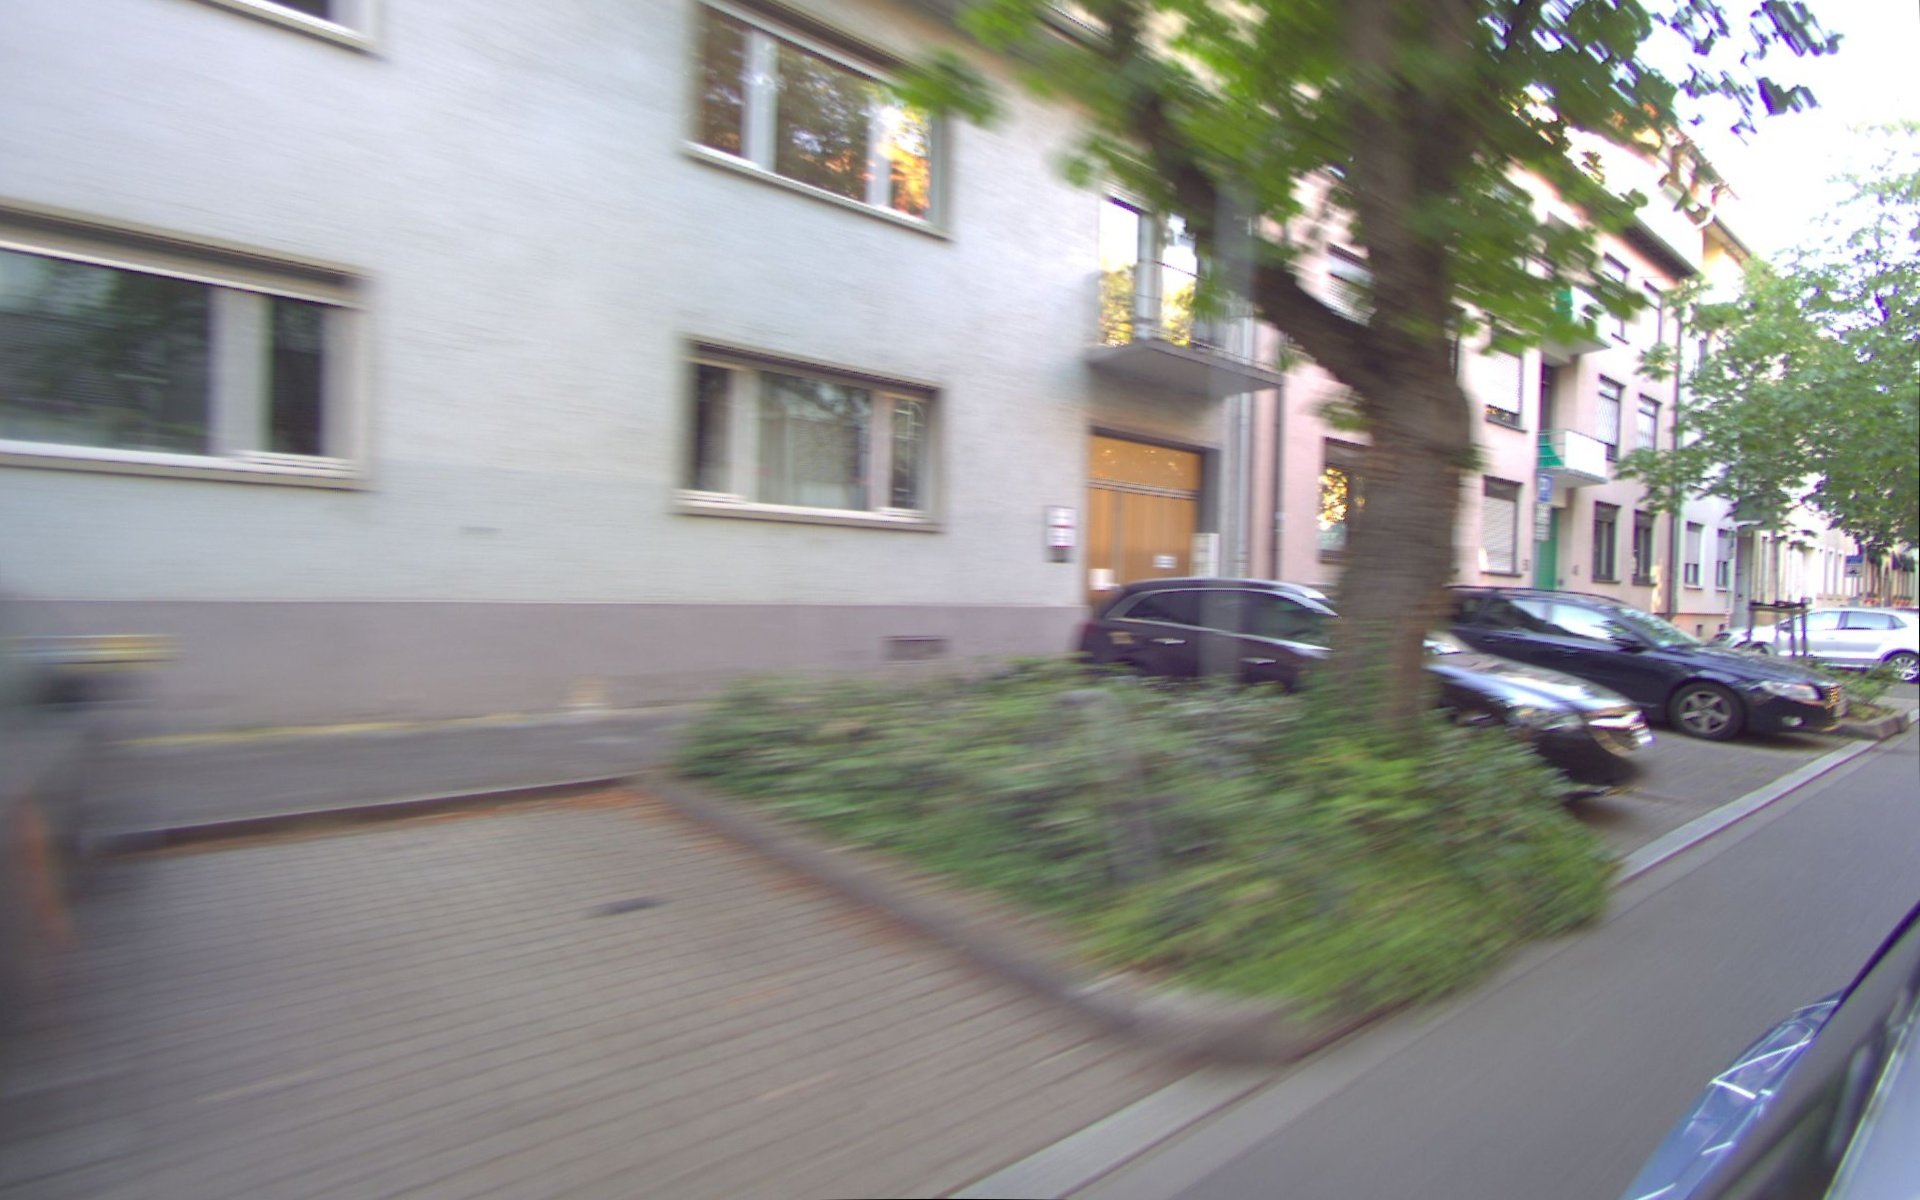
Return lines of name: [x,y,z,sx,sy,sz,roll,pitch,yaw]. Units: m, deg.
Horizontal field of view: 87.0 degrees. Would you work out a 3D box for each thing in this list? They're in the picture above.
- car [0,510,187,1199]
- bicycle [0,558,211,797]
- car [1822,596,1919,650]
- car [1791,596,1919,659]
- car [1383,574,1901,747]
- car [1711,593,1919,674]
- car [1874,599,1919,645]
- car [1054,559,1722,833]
car: [-3.168,0.503,2.392,1.973,1.444,4.476,1,4,-36]
bicycle: [-5.512,0.374,4.590,0.620,1.178,3.348,2,1,43]
car: [27.822,0.692,29.591,1.685,1.428,3.838,1,2,-44]
car: [24.647,0.719,25.963,1.953,1.516,4.885,1,1,-40]
car: [8.043,0.550,12.437,2.004,1.465,4.855,1,3,-38]
car: [18.429,0.659,21.186,1.768,1.509,4.086,1,1,-43]
car: [34.329,0.790,35.109,1.725,1.572,3.726,1,1,-43]
car: [3.143,0.497,8.398,1.964,1.405,4.692,1,4,-39]
